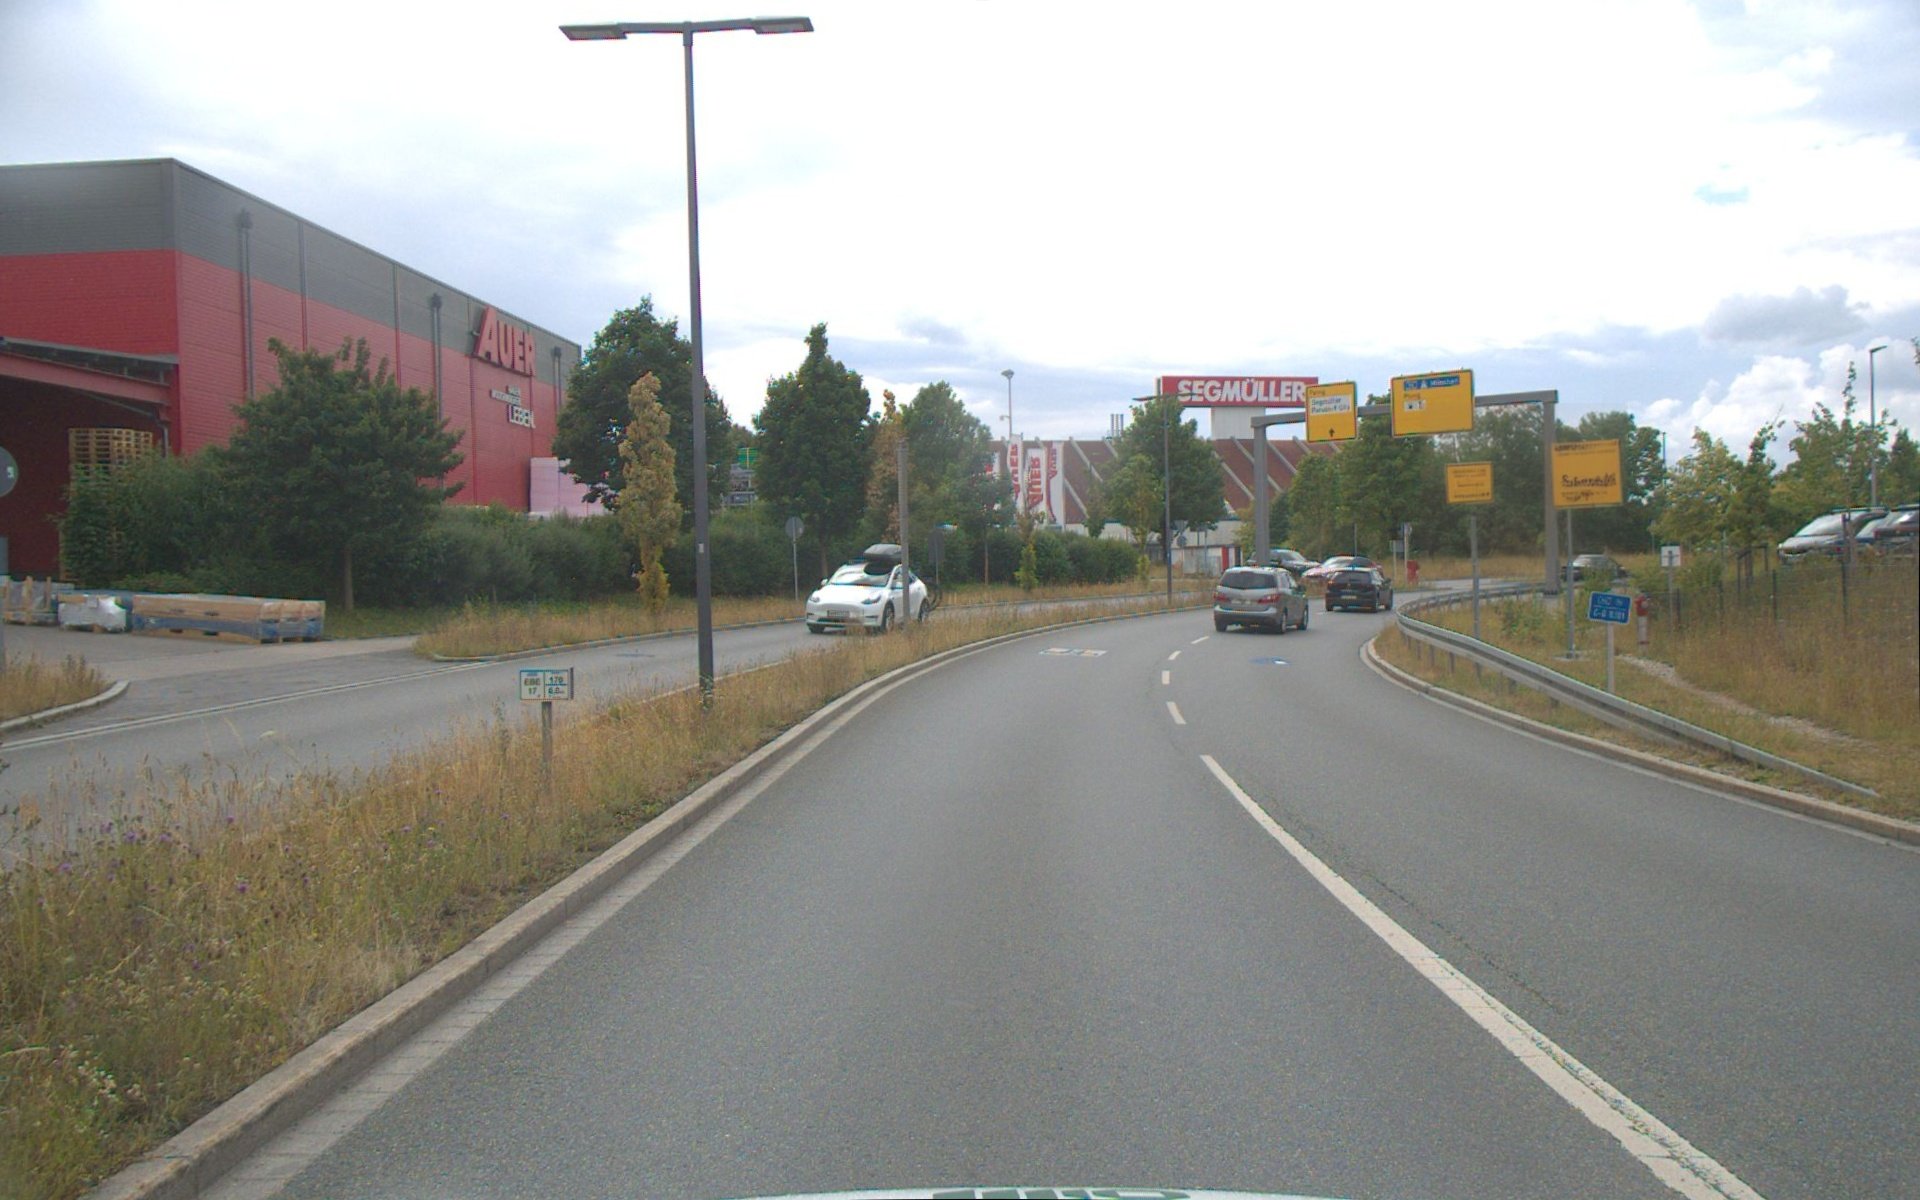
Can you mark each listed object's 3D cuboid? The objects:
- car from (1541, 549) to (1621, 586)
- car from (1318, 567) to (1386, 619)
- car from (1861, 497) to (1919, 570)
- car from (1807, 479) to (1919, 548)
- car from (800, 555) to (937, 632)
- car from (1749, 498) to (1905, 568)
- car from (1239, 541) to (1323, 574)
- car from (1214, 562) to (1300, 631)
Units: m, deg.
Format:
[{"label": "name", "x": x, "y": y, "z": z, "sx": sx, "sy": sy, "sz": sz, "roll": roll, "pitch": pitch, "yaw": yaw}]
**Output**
[{"label": "car", "x": 28.645, "y": -1.472, "z": 76.251, "sx": 3.967, "sy": 1.646, "sz": 1.882, "roll": 0, "pitch": -1, "yaw": -43}, {"label": "car", "x": 13.108, "y": -0.248, "z": 55.136, "sx": 1.830, "sy": 1.633, "sz": 3.736, "roll": -1, "pitch": 0, "yaw": 19}, {"label": "car", "x": 23.742, "y": -1.557, "z": 39.836, "sx": 3.666, "sy": 1.681, "sz": 1.510, "roll": 1, "pitch": 2, "yaw": -20}, {"label": "car", "x": 24.396, "y": -2.247, "z": 43.441, "sx": 3.791, "sy": 1.681, "sz": 1.722, "roll": 1, "pitch": 2, "yaw": -22}, {"label": "car", "x": -2.083, "y": -0.203, "z": 39.283, "sx": 1.868, "sy": 1.654, "sz": 4.641, "roll": 2, "pitch": 2, "yaw": 15}, {"label": "car", "x": 24.036, "y": -1.840, "z": 45.833, "sx": 4.107, "sy": 1.813, "sz": 1.789, "roll": 0, "pitch": 2, "yaw": -28}, {"label": "car", "x": 15.878, "y": -2.100, "z": 82.035, "sx": 1.847, "sy": 1.576, "sz": 4.215, "roll": -1, "pitch": 2, "yaw": -29}, {"label": "car", "x": 7.566, "y": -0.103, "z": 41.959, "sx": 1.730, "sy": 1.645, "sz": 3.924, "roll": -1, "pitch": 0, "yaw": 16}]
